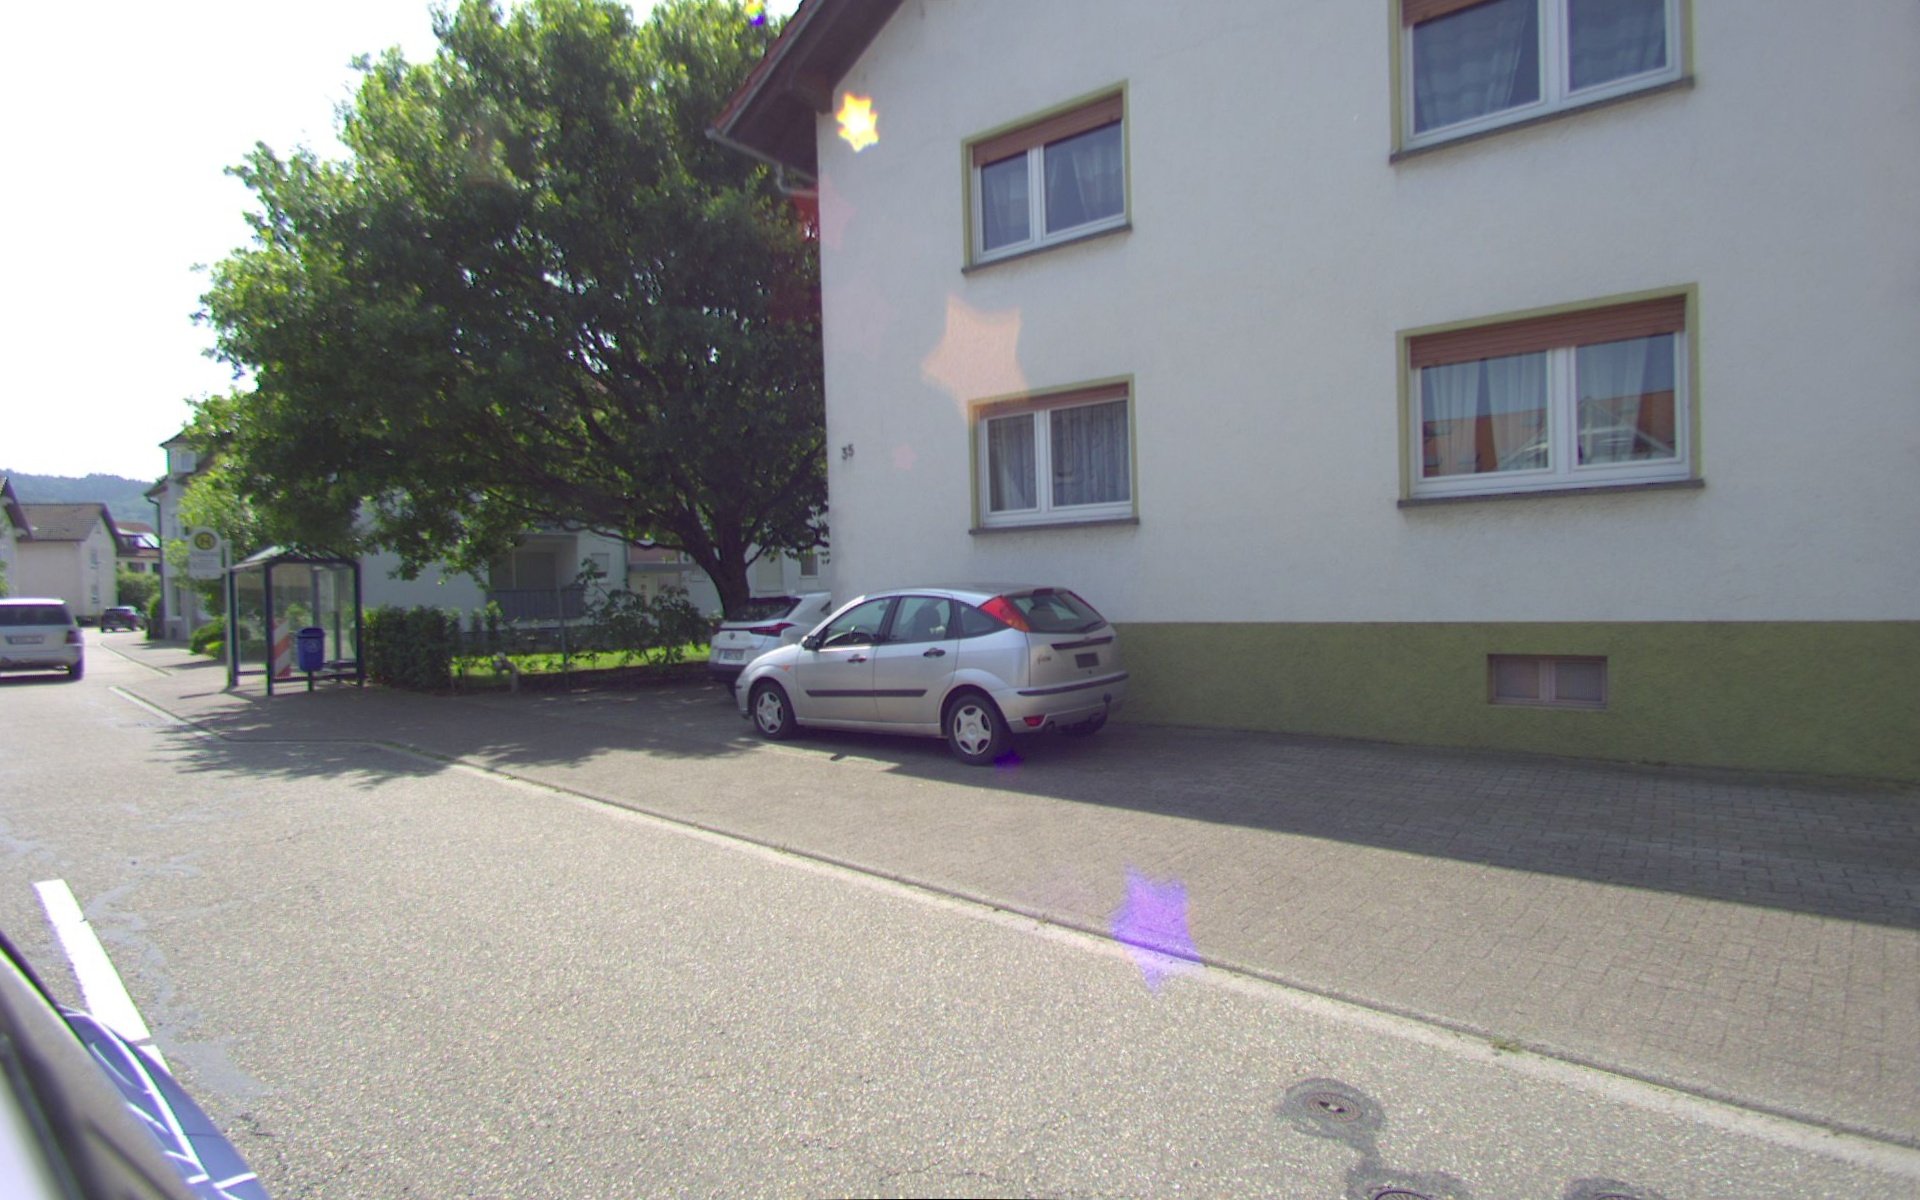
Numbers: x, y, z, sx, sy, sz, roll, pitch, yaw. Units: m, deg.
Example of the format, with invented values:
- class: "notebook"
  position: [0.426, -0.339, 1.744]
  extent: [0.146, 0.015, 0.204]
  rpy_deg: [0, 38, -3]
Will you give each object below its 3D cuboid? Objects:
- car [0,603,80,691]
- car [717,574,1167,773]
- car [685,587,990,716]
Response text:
- class: "car"
  position: [-20.888, 0.986, 22.449]
  extent: [1.863, 1.780, 4.334]
  rpy_deg: [0, -1, -44]
- class: "car"
  position: [-0.315, 0.574, 9.485]
  extent: [4.054, 1.445, 1.760]
  rpy_deg: [-2, 1, 41]
- class: "car"
  position: [-1.584, 0.640, 14.256]
  extent: [1.773, 1.550, 4.115]
  rpy_deg: [-2, -1, 42]
